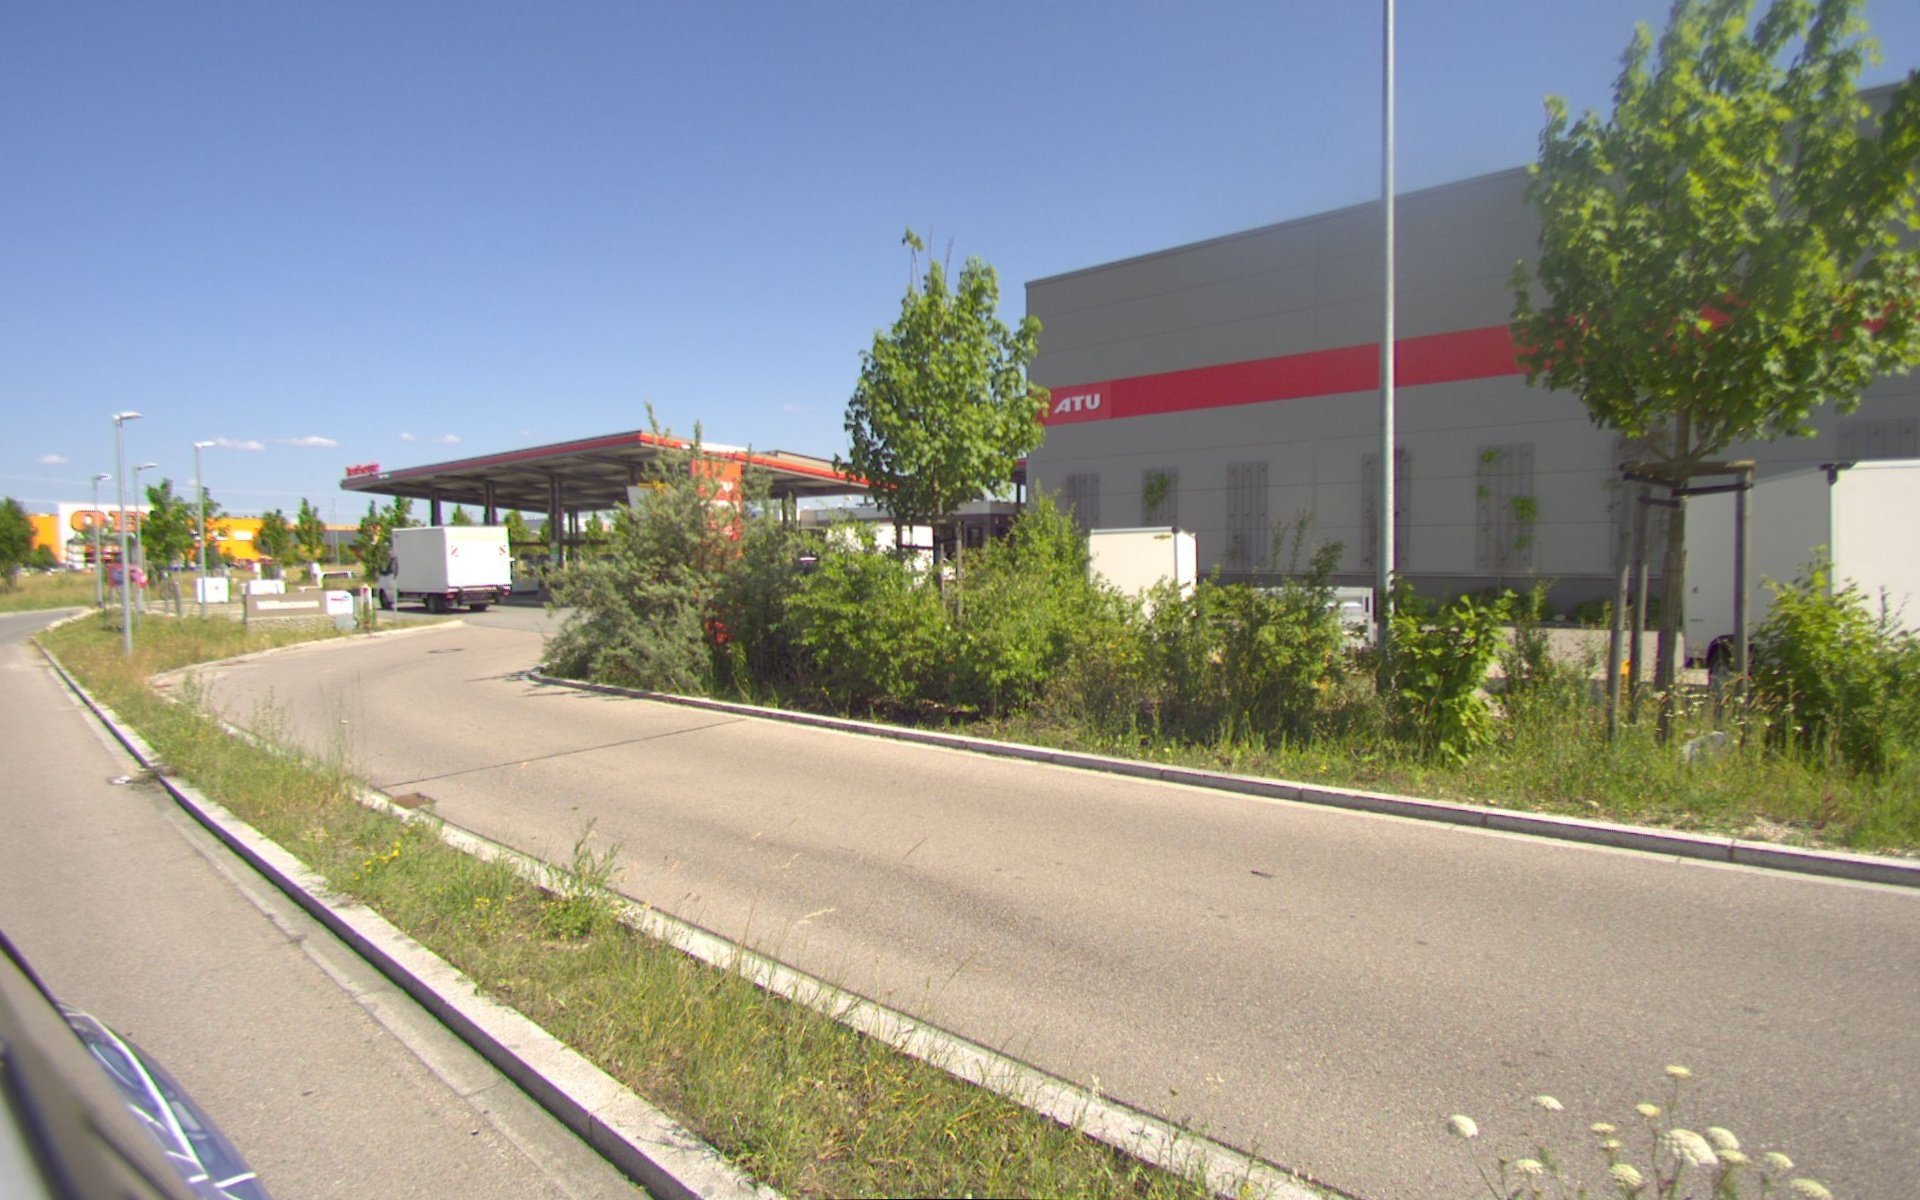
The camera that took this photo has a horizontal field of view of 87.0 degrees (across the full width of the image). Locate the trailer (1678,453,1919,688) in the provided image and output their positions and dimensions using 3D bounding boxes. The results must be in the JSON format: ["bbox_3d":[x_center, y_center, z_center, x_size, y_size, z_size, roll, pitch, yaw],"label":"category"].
[{"bbox_3d":[8.986,-0.322,10.219,1.731,2.028,3.226,-1,2,14],"label":"trailer"}]

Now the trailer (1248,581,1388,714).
[{"bbox_3d":[4.944,0.569,14.225,1.587,1.521,3.580,-2,2,18],"label":"trailer"}]

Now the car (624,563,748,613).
[{"bbox_3d":[-10.795,-0.513,40.111,1.795,1.771,4.461,0,2,40],"label":"car"}]

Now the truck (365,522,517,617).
[{"bbox_3d":[-20.047,-1.115,38.942,6.899,3.343,2.607,0,2,40],"label":"truck"}]

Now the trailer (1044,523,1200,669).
[{"bbox_3d":[2.584,-0.096,15.652,1.983,2.028,2.721,-1,2,18],"label":"trailer"}]

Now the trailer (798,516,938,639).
[{"bbox_3d":[-1.601,-0.435,18.796,1.975,2.028,3.201,-1,2,6],"label":"trailer"}]
